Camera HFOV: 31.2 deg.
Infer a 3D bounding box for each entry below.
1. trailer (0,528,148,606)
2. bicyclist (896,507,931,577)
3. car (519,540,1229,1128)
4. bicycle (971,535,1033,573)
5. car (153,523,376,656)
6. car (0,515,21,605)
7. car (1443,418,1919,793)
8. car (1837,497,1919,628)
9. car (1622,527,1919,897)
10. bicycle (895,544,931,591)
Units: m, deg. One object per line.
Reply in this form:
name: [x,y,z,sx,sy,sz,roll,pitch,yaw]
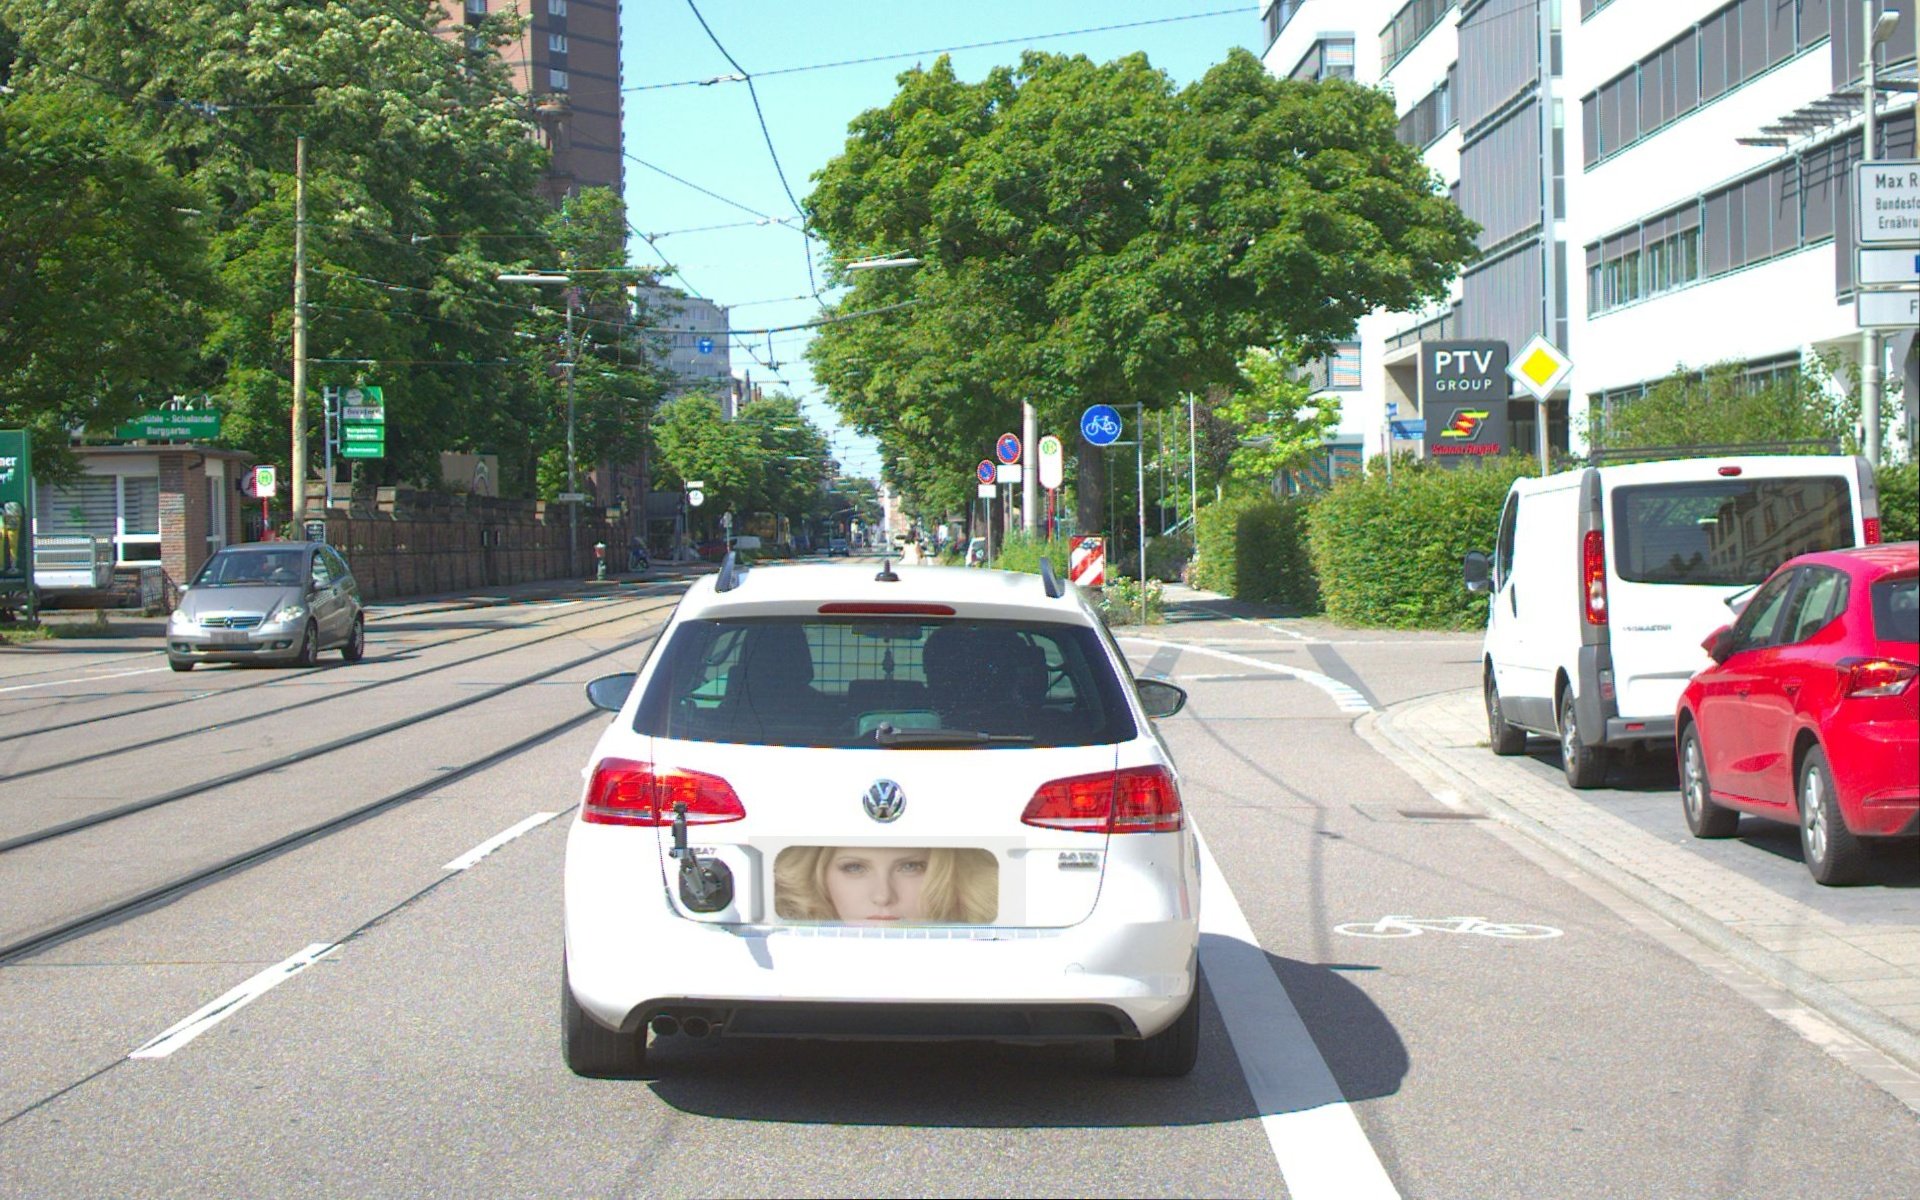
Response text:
trailer: [-18.105,-0.673,68.875,3.215,1.520,1.778,-1,1,1]
bicyclist: [-1.096,-1.354,80.917,0.786,1.623,0.738,1,0,0]
car: [-0.220,0.544,10.755,1.753,1.437,4.413,1,1,0]
bicycle: [1.234,-1.373,101.714,1.774,1.079,0.596,-1,1,-3]
car: [-8.813,-0.155,43.866,1.746,1.566,3.891,-2,1,4]
car: [-19.159,-0.673,60.761,1.948,1.619,4.567,0,2,44]
car: [4.522,-0.019,22.199,1.976,2.047,5.191,-3,1,0]
car: [12.125,-0.468,39.656,3.593,1.468,1.592,-1,1,0]
car: [4.417,0.410,16.159,1.722,1.438,4.312,-3,1,0]
bicycle: [-1.105,-0.763,80.795,0.811,1.074,2.012,-1,1,0]
